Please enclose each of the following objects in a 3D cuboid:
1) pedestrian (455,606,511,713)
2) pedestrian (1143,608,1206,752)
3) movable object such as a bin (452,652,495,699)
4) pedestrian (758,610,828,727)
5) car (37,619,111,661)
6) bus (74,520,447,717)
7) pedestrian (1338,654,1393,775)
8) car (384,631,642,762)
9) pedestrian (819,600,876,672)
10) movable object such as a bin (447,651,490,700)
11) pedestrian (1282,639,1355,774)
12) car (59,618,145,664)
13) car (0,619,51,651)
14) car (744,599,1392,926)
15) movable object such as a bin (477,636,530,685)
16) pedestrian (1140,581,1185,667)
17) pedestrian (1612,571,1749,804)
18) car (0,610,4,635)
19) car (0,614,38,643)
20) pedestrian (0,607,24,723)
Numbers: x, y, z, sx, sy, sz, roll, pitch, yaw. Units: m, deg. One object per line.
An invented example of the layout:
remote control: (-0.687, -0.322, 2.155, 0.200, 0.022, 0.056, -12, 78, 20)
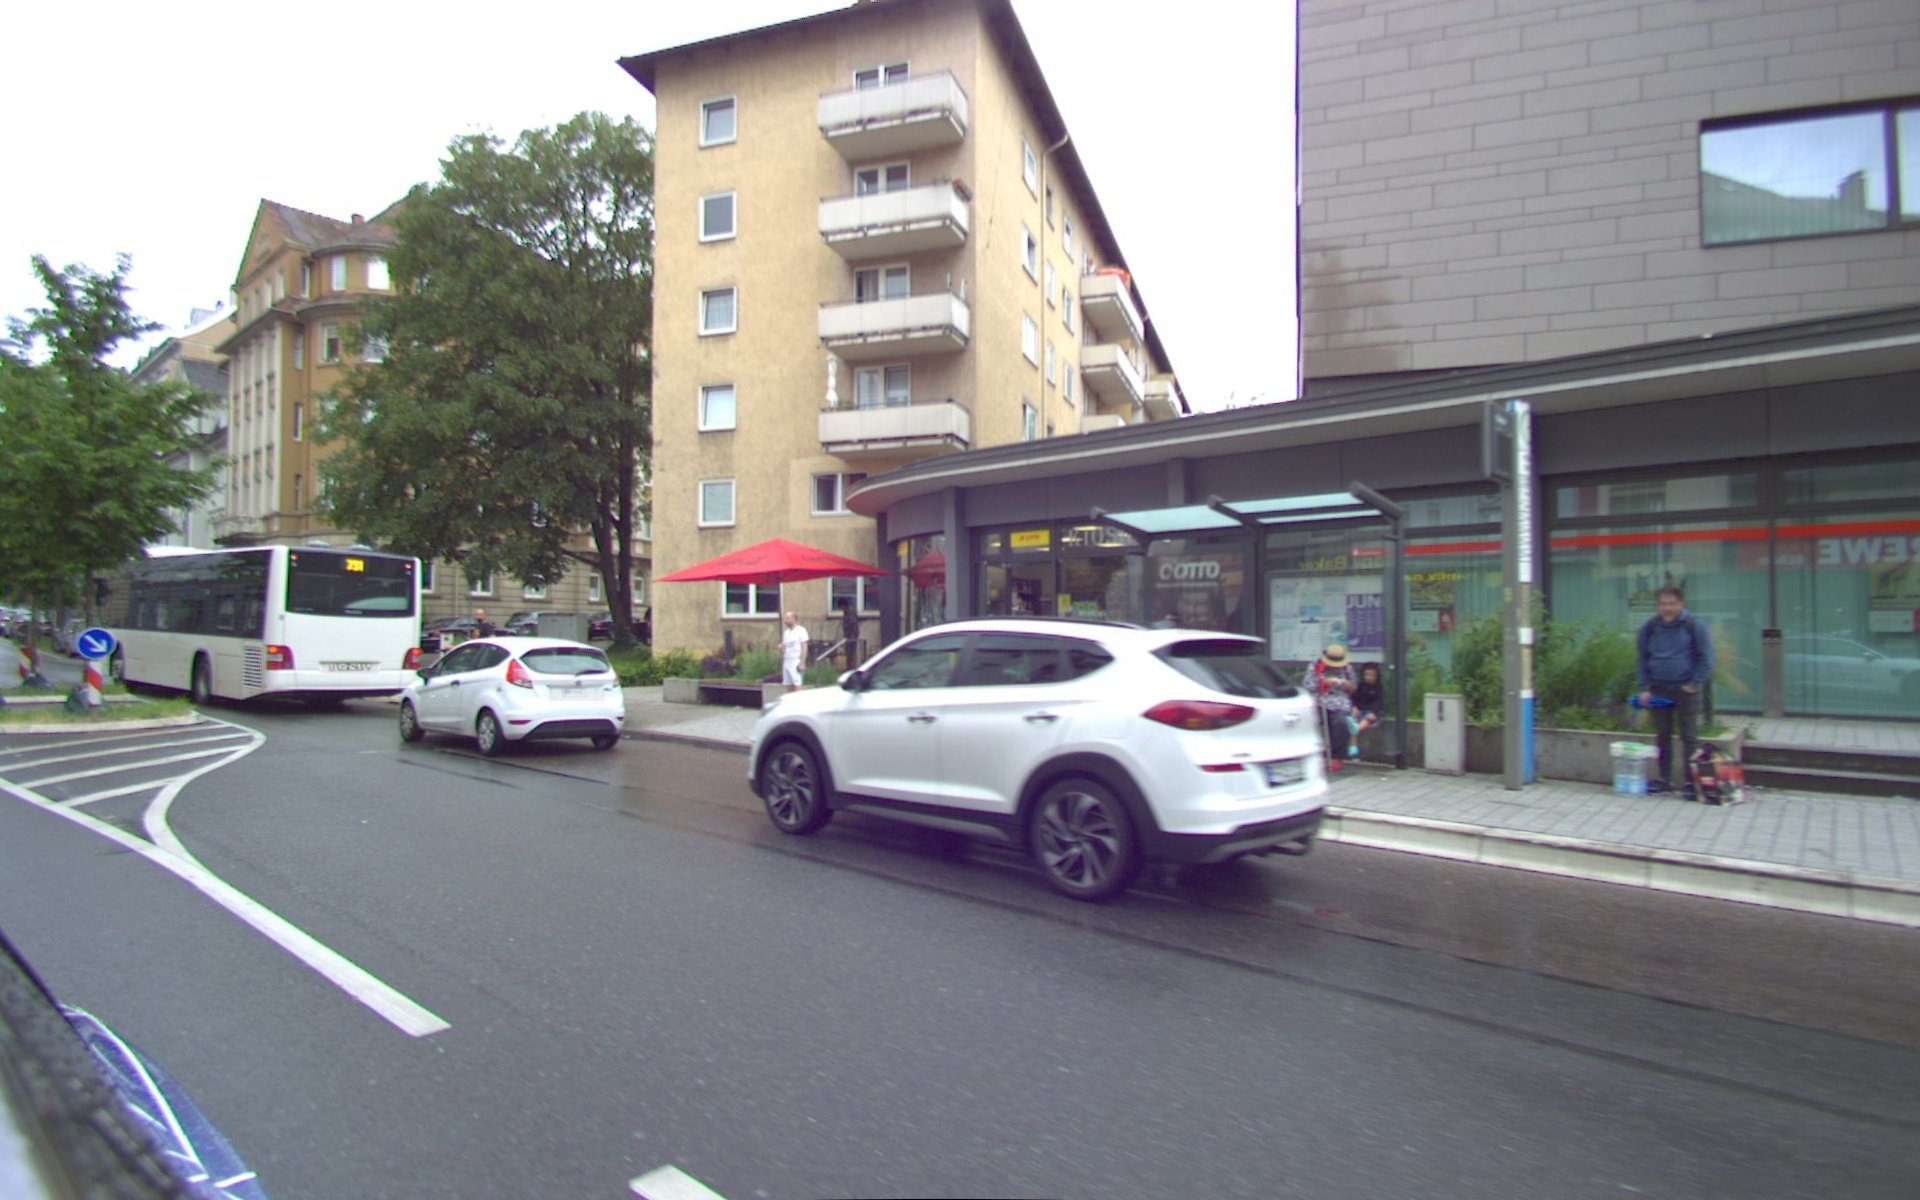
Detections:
pedestrian: (-9.324, 1.141, 19.791, 0.782, 2.029, 0.695, -1, -1, 38)
pedestrian: (2.405, 0.879, 11.356, 0.533, 1.561, 0.433, -1, -2, 40)
movable object such as a bin: (-11.606, 1.793, 24.140, 0.578, 1.066, 0.733, -1, -1, 37)
pedestrian: (-2.554, 1.030, 15.499, 0.756, 1.721, 0.788, -2, 0, 16)
car: (-35.272, 1.551, 40.278, 3.390, 1.527, 1.651, -1, 1, 39)
bus: (-15.366, 0.435, 21.584, 11.943, 3.271, 2.779, 0, -6, 38)
pedestrian: (3.937, 1.097, 9.827, 0.386, 1.125, 0.387, -2, -2, 41)
car: (-5.960, 1.182, 13.318, 3.804, 1.475, 1.598, -2, -5, 41)
pedestrian: (-2.652, 0.841, 23.938, 0.934, 1.624, 1.146, -2, 0, 16)
movable object such as a bin: (-11.375, 1.741, 23.420, 0.579, 1.066, 0.732, -1, -1, 45)
pedestrian: (3.590, 1.041, 10.145, 0.549, 1.287, 0.463, -2, -2, 41)
car: (-31.867, 1.492, 37.560, 3.673, 1.527, 1.791, -1, 1, 39)
car: (-49.345, 1.808, 53.318, 3.694, 1.527, 1.651, 0, 1, 41)
car: (0.554, 0.854, 7.014, 4.123, 1.585, 1.875, -1, -4, 41)
movable object such as a bin: (-10.349, 1.367, 22.962, 0.806, 1.066, 0.739, 0, -1, 16)
pedestrian: (3.945, 0.463, 19.728, 0.642, 1.640, 0.580, 1, -2, -43)
pedestrian: (5.992, 0.698, 8.467, 0.868, 1.833, 0.584, -1, -2, 33)
car: (-61.087, 1.435, 63.198, 3.391, 1.527, 1.651, 0, 1, 41)
car: (-53.312, 1.607, 56.948, 3.391, 1.527, 1.651, 0, 1, 41)
pedestrian: (-15.174, 0.987, 15.512, 0.854, 1.762, 1.049, -2, -4, 41)
